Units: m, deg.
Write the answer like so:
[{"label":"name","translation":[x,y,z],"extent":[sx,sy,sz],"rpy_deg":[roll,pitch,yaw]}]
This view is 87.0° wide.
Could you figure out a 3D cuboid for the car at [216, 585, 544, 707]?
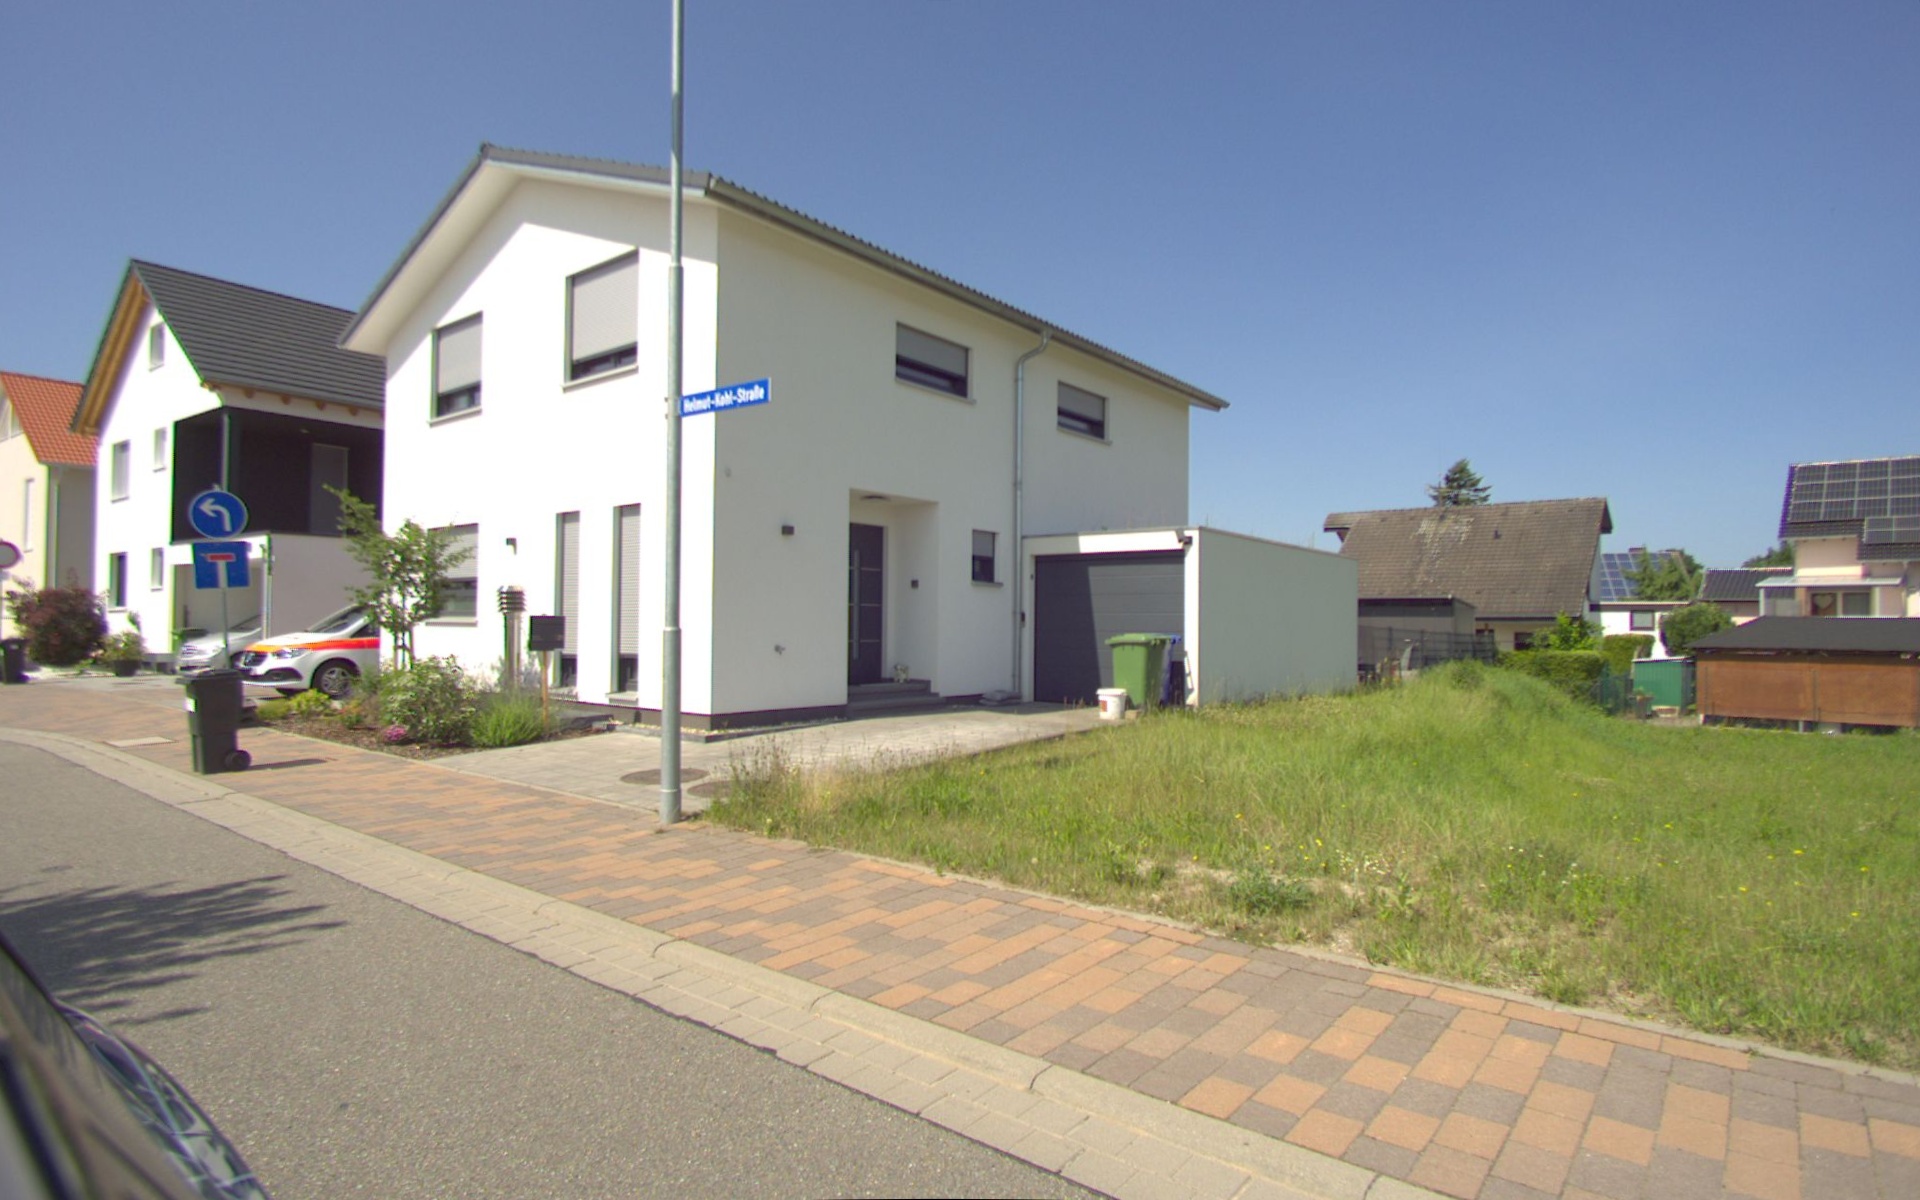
[{"label":"car","translation":[-10.160,0.792,18.116],"extent":[1.935,1.889,4.693],"rpy_deg":[-1,-2,36]}]

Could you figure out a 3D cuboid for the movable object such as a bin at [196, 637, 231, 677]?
[{"label":"movable object such as a bin","translation":[-17.660,1.331,23.930],"extent":[0.560,0.912,0.494],"rpy_deg":[0,-1,34]}]

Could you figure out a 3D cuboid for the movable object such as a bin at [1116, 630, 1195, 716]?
[{"label":"movable object such as a bin","translation":[2.614,0.961,13.536],"extent":[0.807,1.107,0.663],"rpy_deg":[-1,-3,40]}]

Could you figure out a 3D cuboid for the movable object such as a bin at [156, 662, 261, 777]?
[{"label":"movable object such as a bin","translation":[-6.806,1.064,9.170],"extent":[0.499,0.955,0.618],"rpy_deg":[0,-1,34]}]

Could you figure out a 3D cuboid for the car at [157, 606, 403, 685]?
[{"label":"car","translation":[-14.835,0.985,22.302],"extent":[1.740,1.574,4.118],"rpy_deg":[-1,-3,33]}]

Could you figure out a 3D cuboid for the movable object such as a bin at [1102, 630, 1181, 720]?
[{"label":"movable object such as a bin","translation":[2.327,0.945,12.971],"extent":[0.784,1.107,0.653],"rpy_deg":[-1,-3,38]}]

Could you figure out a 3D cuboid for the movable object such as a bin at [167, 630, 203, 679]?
[{"label":"movable object such as a bin","translation":[-17.944,1.258,23.427],"extent":[0.600,1.100,0.494],"rpy_deg":[-3,-3,34]}]

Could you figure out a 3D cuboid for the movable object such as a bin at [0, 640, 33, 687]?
[{"label":"movable object such as a bin","translation":[-19.291,1.281,20.520],"extent":[0.563,0.944,0.611],"rpy_deg":[-2,-2,34]}]
